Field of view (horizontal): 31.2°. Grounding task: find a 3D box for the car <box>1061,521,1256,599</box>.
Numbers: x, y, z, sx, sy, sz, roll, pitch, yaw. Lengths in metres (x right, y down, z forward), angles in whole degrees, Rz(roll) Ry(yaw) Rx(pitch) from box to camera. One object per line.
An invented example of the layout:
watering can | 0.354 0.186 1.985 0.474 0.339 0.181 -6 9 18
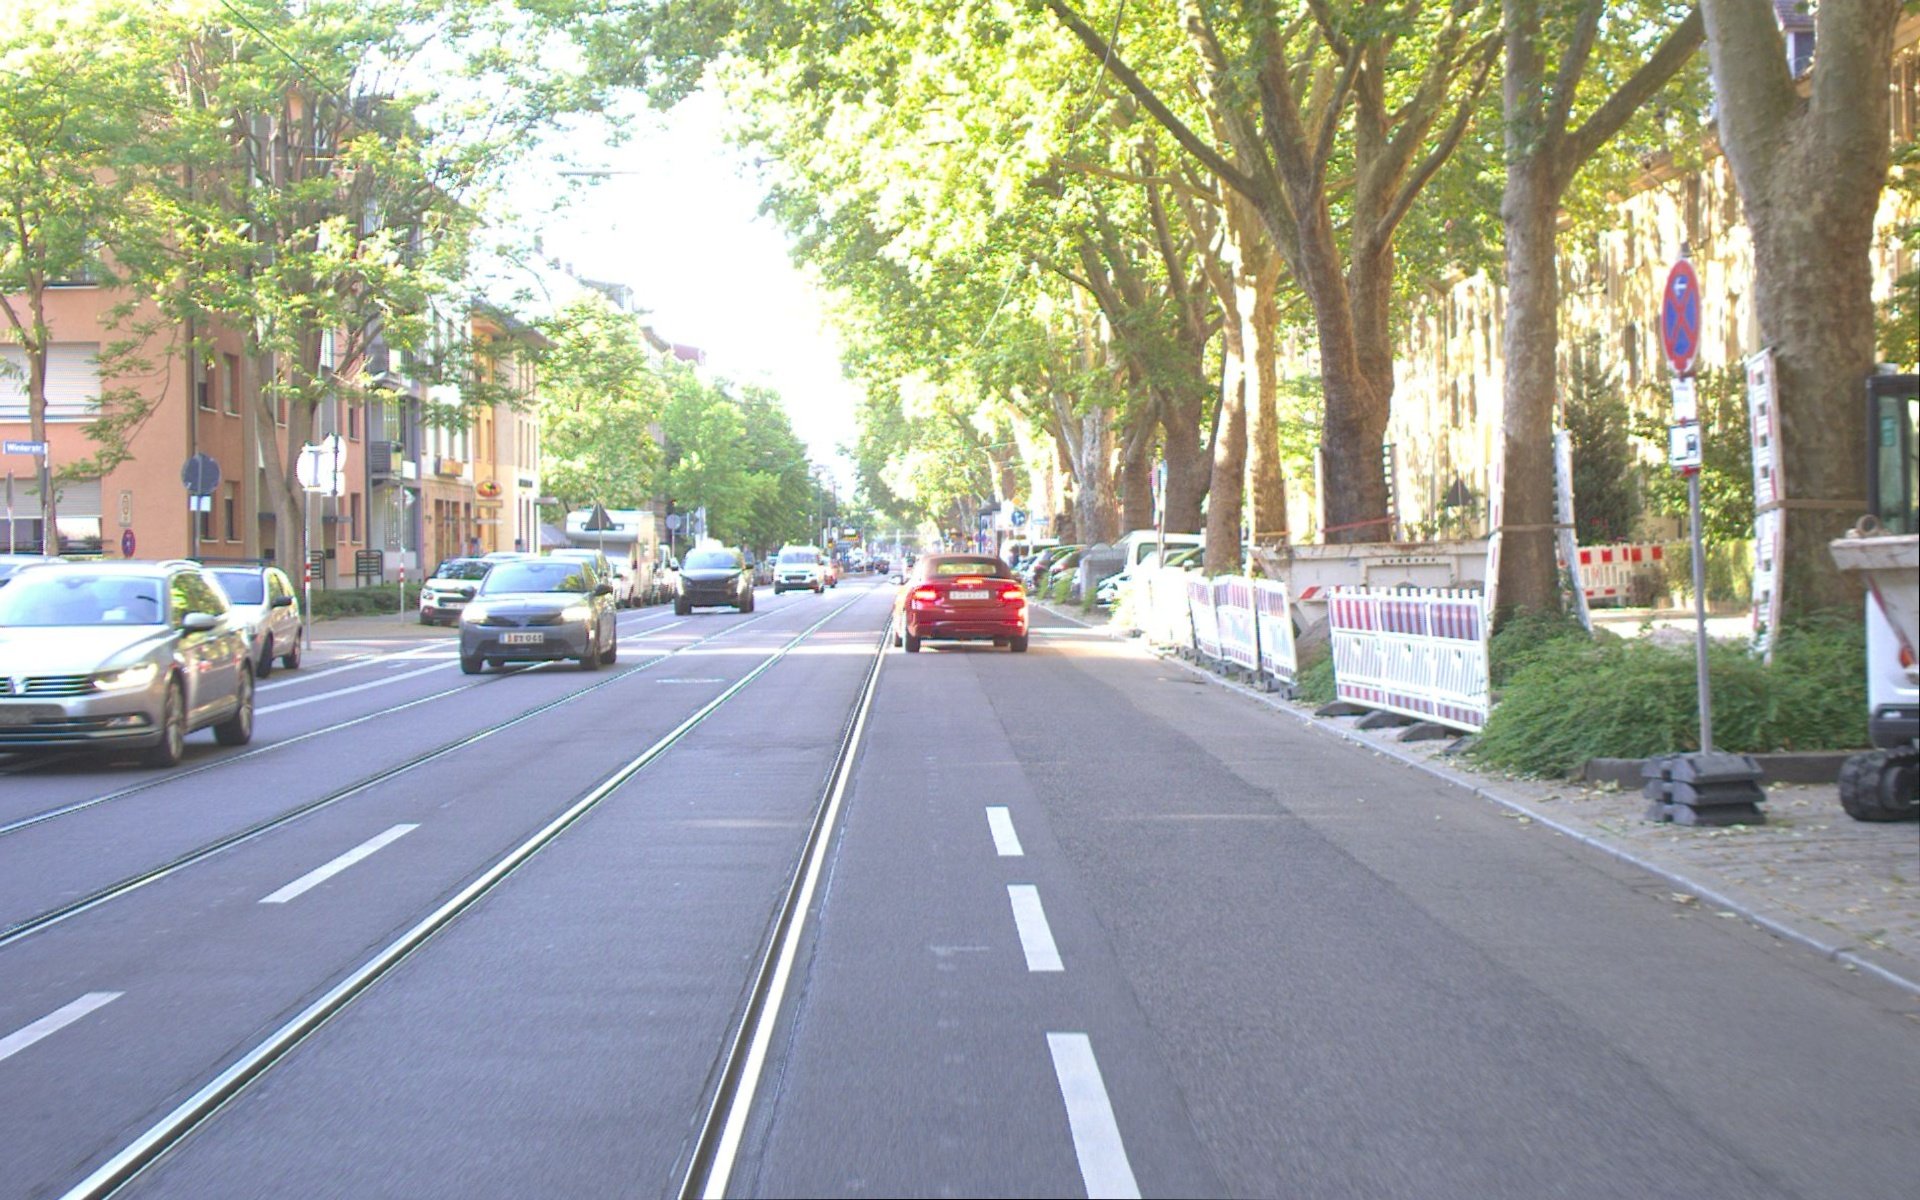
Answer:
car | 5.114 -1.032 89.104 4.835 1.956 2.065 -1 1 -3

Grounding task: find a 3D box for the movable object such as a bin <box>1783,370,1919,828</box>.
movable object such as a bin | 5.667 -0.036 18.310 1.484 2.261 3.270 0 1 33

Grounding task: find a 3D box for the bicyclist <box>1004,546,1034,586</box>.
bicyclist | 2.483 -1.432 144.728 1.045 1.700 1.058 -1 1 -10

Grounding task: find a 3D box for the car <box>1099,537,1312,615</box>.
car | 4.920 -0.474 69.331 4.087 1.516 1.917 -1 0 -2

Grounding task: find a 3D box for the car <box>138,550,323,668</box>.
car | -9.755 0.088 46.240 1.725 1.478 3.931 2 1 -2

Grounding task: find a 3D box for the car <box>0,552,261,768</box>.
car | -6.465 0.394 25.315 1.795 1.441 4.717 0 0 -2

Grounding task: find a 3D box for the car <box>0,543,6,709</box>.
car | -9.887 0.271 30.713 1.626 1.566 3.781 -1 0 1

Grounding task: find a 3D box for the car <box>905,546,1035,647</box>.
car | 0.140 -0.083 50.003 1.792 1.384 4.236 1 1 0

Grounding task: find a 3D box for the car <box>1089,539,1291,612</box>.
car | 5.054 -0.552 75.639 4.371 1.537 1.801 -1 2 3

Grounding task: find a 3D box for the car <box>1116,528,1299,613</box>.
car | 5.285 -0.635 73.613 3.844 1.766 1.916 -1 1 3

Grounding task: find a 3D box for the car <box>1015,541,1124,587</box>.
car | 4.092 -1.357 128.434 3.923 1.664 1.961 -1 1 -2

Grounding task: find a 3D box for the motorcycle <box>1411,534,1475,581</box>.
motorcycle | 14.874 -1.312 105.936 1.803 1.356 0.622 -4 1 -3

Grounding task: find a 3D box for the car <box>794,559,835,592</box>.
car | -6.803 -1.171 161.477 1.775 1.453 4.203 -2 1 -1

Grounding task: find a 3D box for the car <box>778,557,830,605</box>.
car | -6.161 -0.768 136.202 1.891 1.826 4.896 -1 1 -1

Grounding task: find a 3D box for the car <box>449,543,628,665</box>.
car | -5.379 0.020 44.286 1.795 1.441 4.053 -2 1 0

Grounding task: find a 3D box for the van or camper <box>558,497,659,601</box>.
van or camper | -10.884 -1.579 106.820 2.337 3.030 6.397 3 1 0

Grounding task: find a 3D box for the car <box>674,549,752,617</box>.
car | -6.203 -0.454 86.426 1.853 1.595 4.465 2 1 -4

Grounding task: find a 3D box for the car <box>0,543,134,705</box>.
car | -9.910 0.202 35.800 1.819 1.581 4.006 0 1 -3

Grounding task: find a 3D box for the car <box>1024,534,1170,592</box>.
car | 4.343 -1.169 108.370 4.497 1.596 2.027 -2 1 3

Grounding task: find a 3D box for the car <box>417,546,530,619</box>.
car | -10.467 -0.391 74.187 1.806 1.473 4.090 2 1 0
